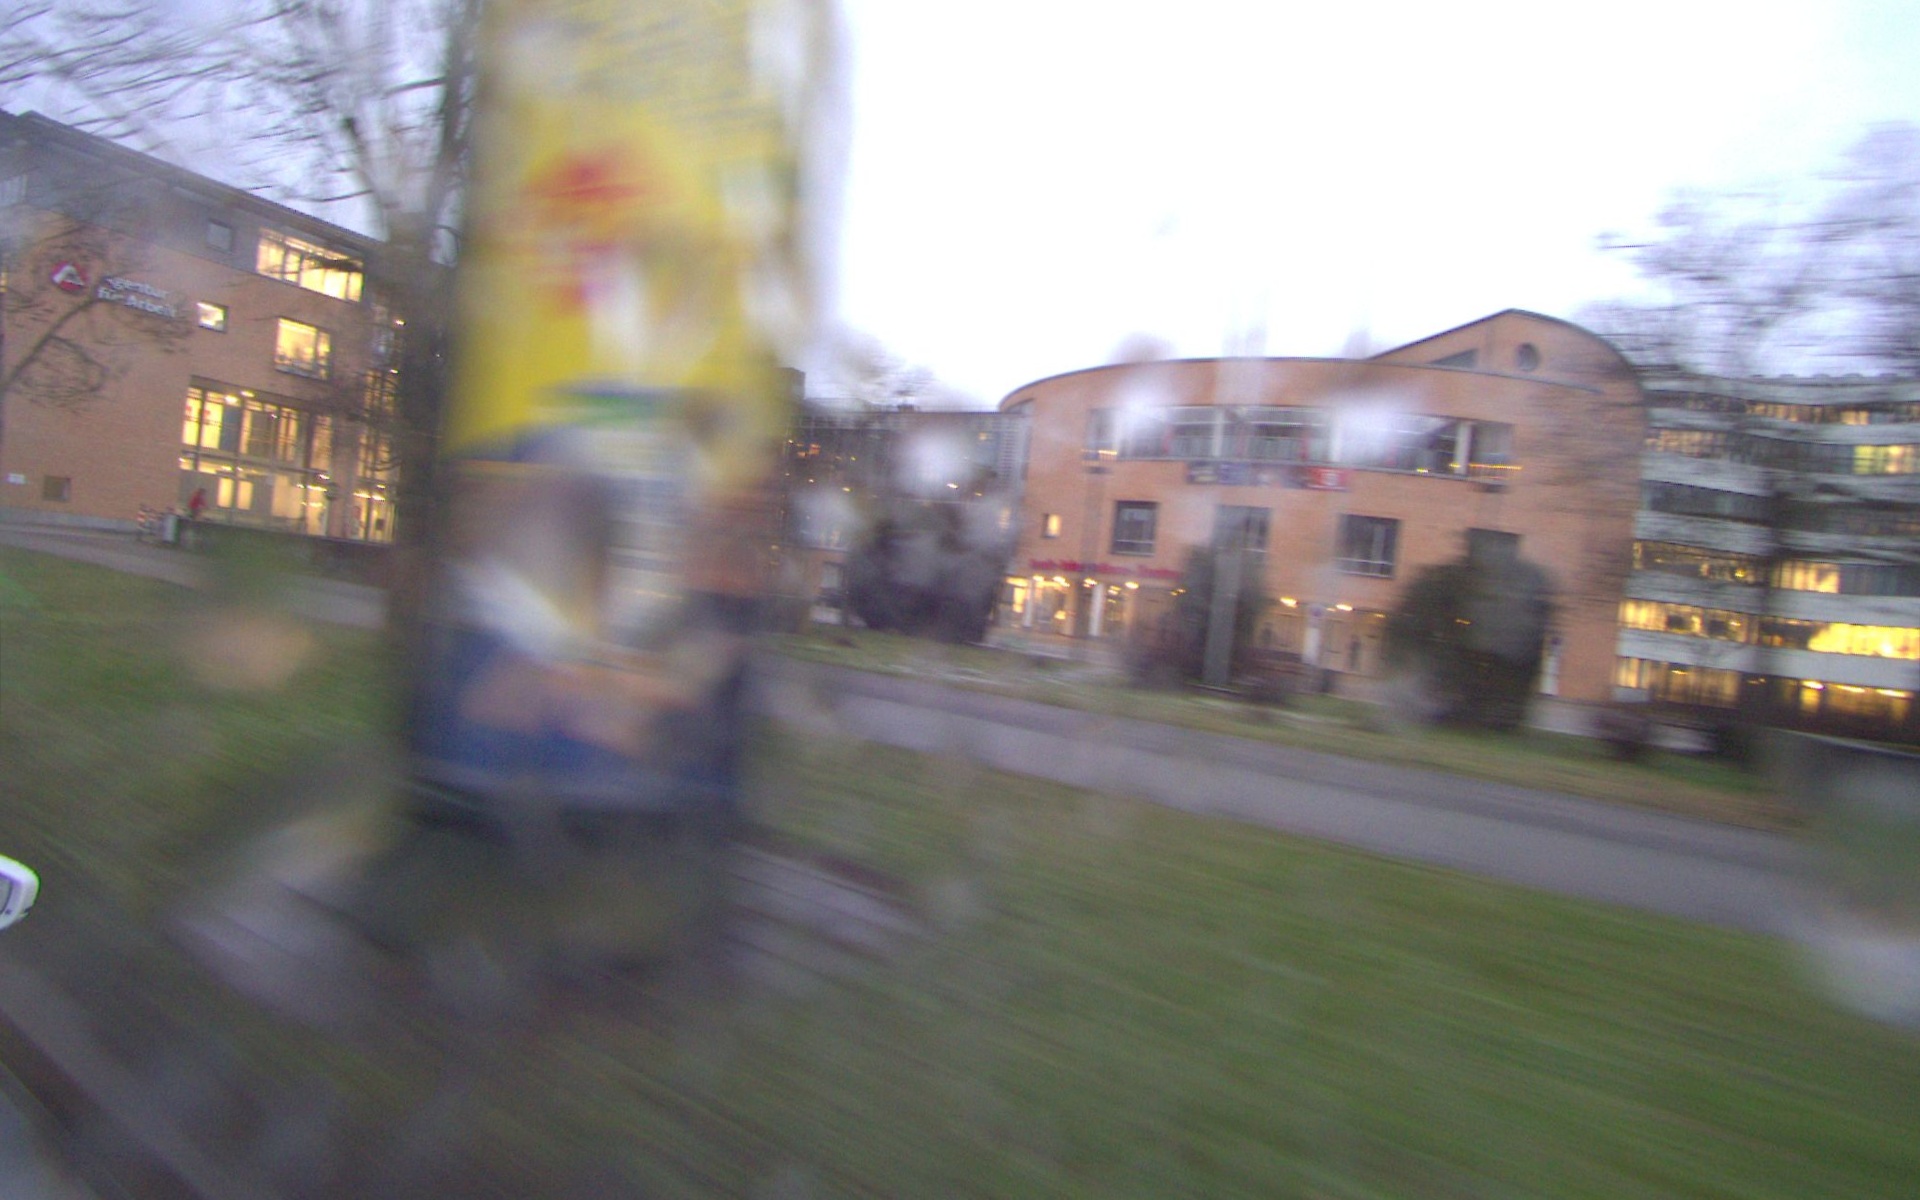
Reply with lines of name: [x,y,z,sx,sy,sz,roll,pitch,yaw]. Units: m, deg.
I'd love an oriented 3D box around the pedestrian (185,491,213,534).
pedestrian: [-31.220,-3.591,41.257,0.726,1.658,0.631,7,2,38]
